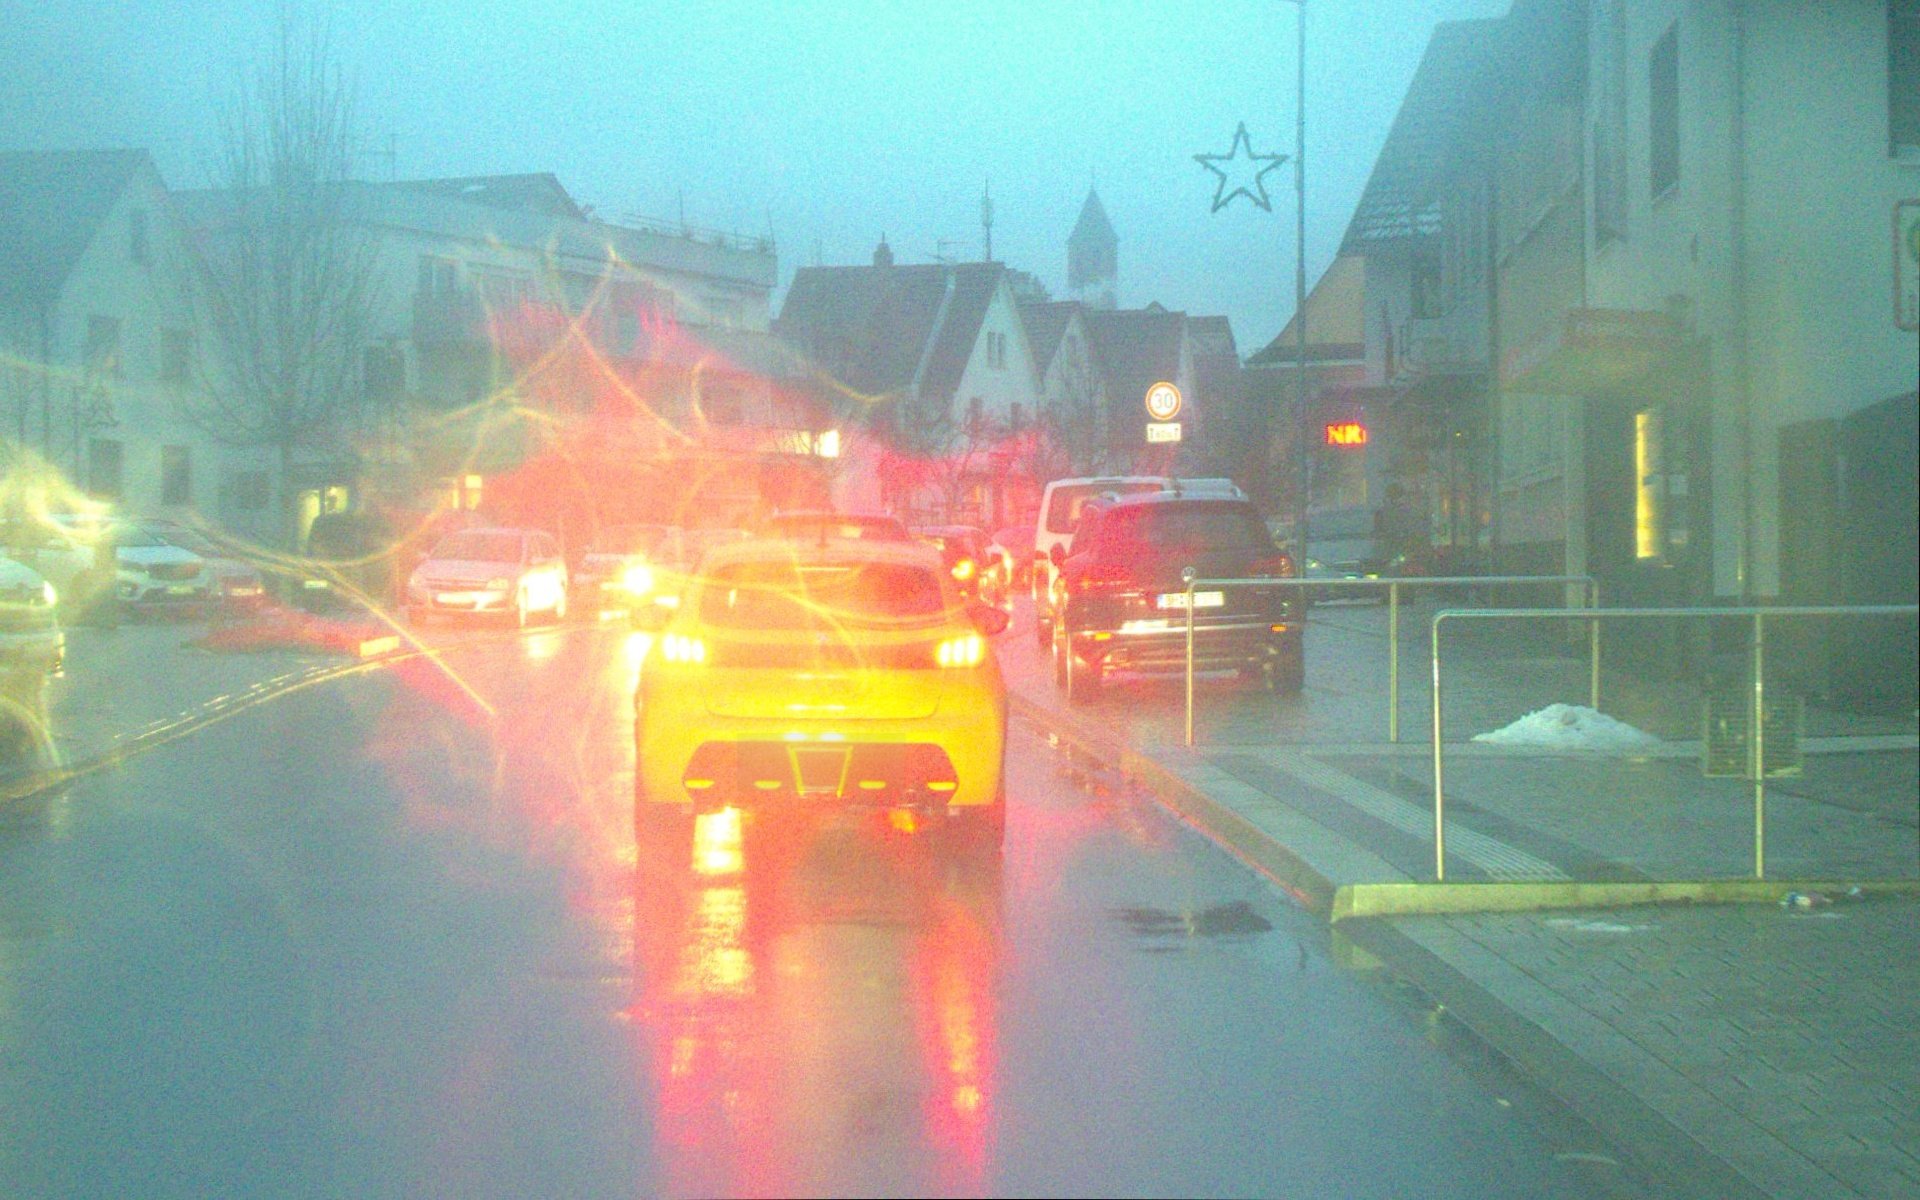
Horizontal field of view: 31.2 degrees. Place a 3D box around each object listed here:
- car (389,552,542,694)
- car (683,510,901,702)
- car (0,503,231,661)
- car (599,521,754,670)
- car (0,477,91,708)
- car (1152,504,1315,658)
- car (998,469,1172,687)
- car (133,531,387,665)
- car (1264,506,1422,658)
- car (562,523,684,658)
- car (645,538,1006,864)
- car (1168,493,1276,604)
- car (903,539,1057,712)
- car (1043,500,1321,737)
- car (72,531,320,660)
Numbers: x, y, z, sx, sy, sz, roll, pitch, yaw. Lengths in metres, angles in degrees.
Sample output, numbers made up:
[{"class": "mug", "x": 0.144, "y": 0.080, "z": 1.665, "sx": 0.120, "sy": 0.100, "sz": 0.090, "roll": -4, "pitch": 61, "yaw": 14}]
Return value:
[{"class": "car", "x": -7.426, "y": 0.371, "z": 51.924, "sx": 1.919, "sy": 2.021, "sz": 3.975, "roll": 1, "pitch": -1, "yaw": -3}, {"class": "car", "x": -1.480, "y": 0.018, "z": 31.483, "sx": 1.766, "sy": 1.623, "sz": 3.586, "roll": 1, "pitch": 1, "yaw": 0}, {"class": "car", "x": -13.141, "y": -0.249, "z": 51.768, "sx": 4.382, "sy": 2.244, "sz": 1.995, "roll": 0, "pitch": -2, "yaw": 43}, {"class": "car", "x": -4.233, "y": -0.030, "z": 51.826, "sx": 1.993, "sy": 2.105, "sz": 4.000, "roll": 1, "pitch": -1, "yaw": 0}, {"class": "car", "x": -10.023, "y": -0.153, "z": 28.130, "sx": 5.399, "sy": 1.811, "sz": 1.711, "roll": 2, "pitch": 1, "yaw": 12}, {"class": "car", "x": 3.797, "y": -0.218, "z": 48.360, "sx": 1.870, "sy": 1.992, "sz": 4.443, "roll": 1, "pitch": -1, "yaw": 0}, {"class": "car", "x": 1.459, "y": -0.199, "z": 41.671, "sx": 1.870, "sy": 2.461, "sz": 4.443, "roll": 1, "pitch": -1, "yaw": 0}, {"class": "car", "x": -11.939, "y": -0.027, "z": 58.490, "sx": 4.382, "sy": 2.159, "sz": 1.995, "roll": 0, "pitch": -2, "yaw": 43}, {"class": "car", "x": 5.997, "y": -0.243, "z": 54.239, "sx": 1.993, "sy": 2.241, "sz": 4.000, "roll": 1, "pitch": -1, "yaw": 0}, {"class": "car", "x": -5.836, "y": -0.126, "z": 59.845, "sx": 1.919, "sy": 2.208, "sz": 3.975, "roll": 1, "pitch": -1, "yaw": -3}, {"class": "car", "x": -0.634, "y": 0.422, "z": 16.699, "sx": 1.563, "sy": 1.408, "sz": 3.018, "roll": 1, "pitch": 1, "yaw": -2}, {"class": "car", "x": 4.862, "y": -0.914, "z": 63.371, "sx": 1.870, "sy": 1.828, "sz": 4.442, "roll": 1, "pitch": -1, "yaw": 5}, {"class": "car", "x": 0.251, "y": 0.385, "z": 47.640, "sx": 1.993, "sy": 2.244, "sz": 4.000, "roll": 1, "pitch": -1, "yaw": 0}, {"class": "car", "x": 1.813, "y": 0.134, "z": 29.287, "sx": 1.997, "sy": 1.858, "sz": 4.083, "roll": 1, "pitch": 0, "yaw": -1}, {"class": "car", "x": -12.389, "y": -0.060, "z": 55.658, "sx": 4.166, "sy": 1.969, "sz": 1.818, "roll": 0, "pitch": -2, "yaw": 43}]
